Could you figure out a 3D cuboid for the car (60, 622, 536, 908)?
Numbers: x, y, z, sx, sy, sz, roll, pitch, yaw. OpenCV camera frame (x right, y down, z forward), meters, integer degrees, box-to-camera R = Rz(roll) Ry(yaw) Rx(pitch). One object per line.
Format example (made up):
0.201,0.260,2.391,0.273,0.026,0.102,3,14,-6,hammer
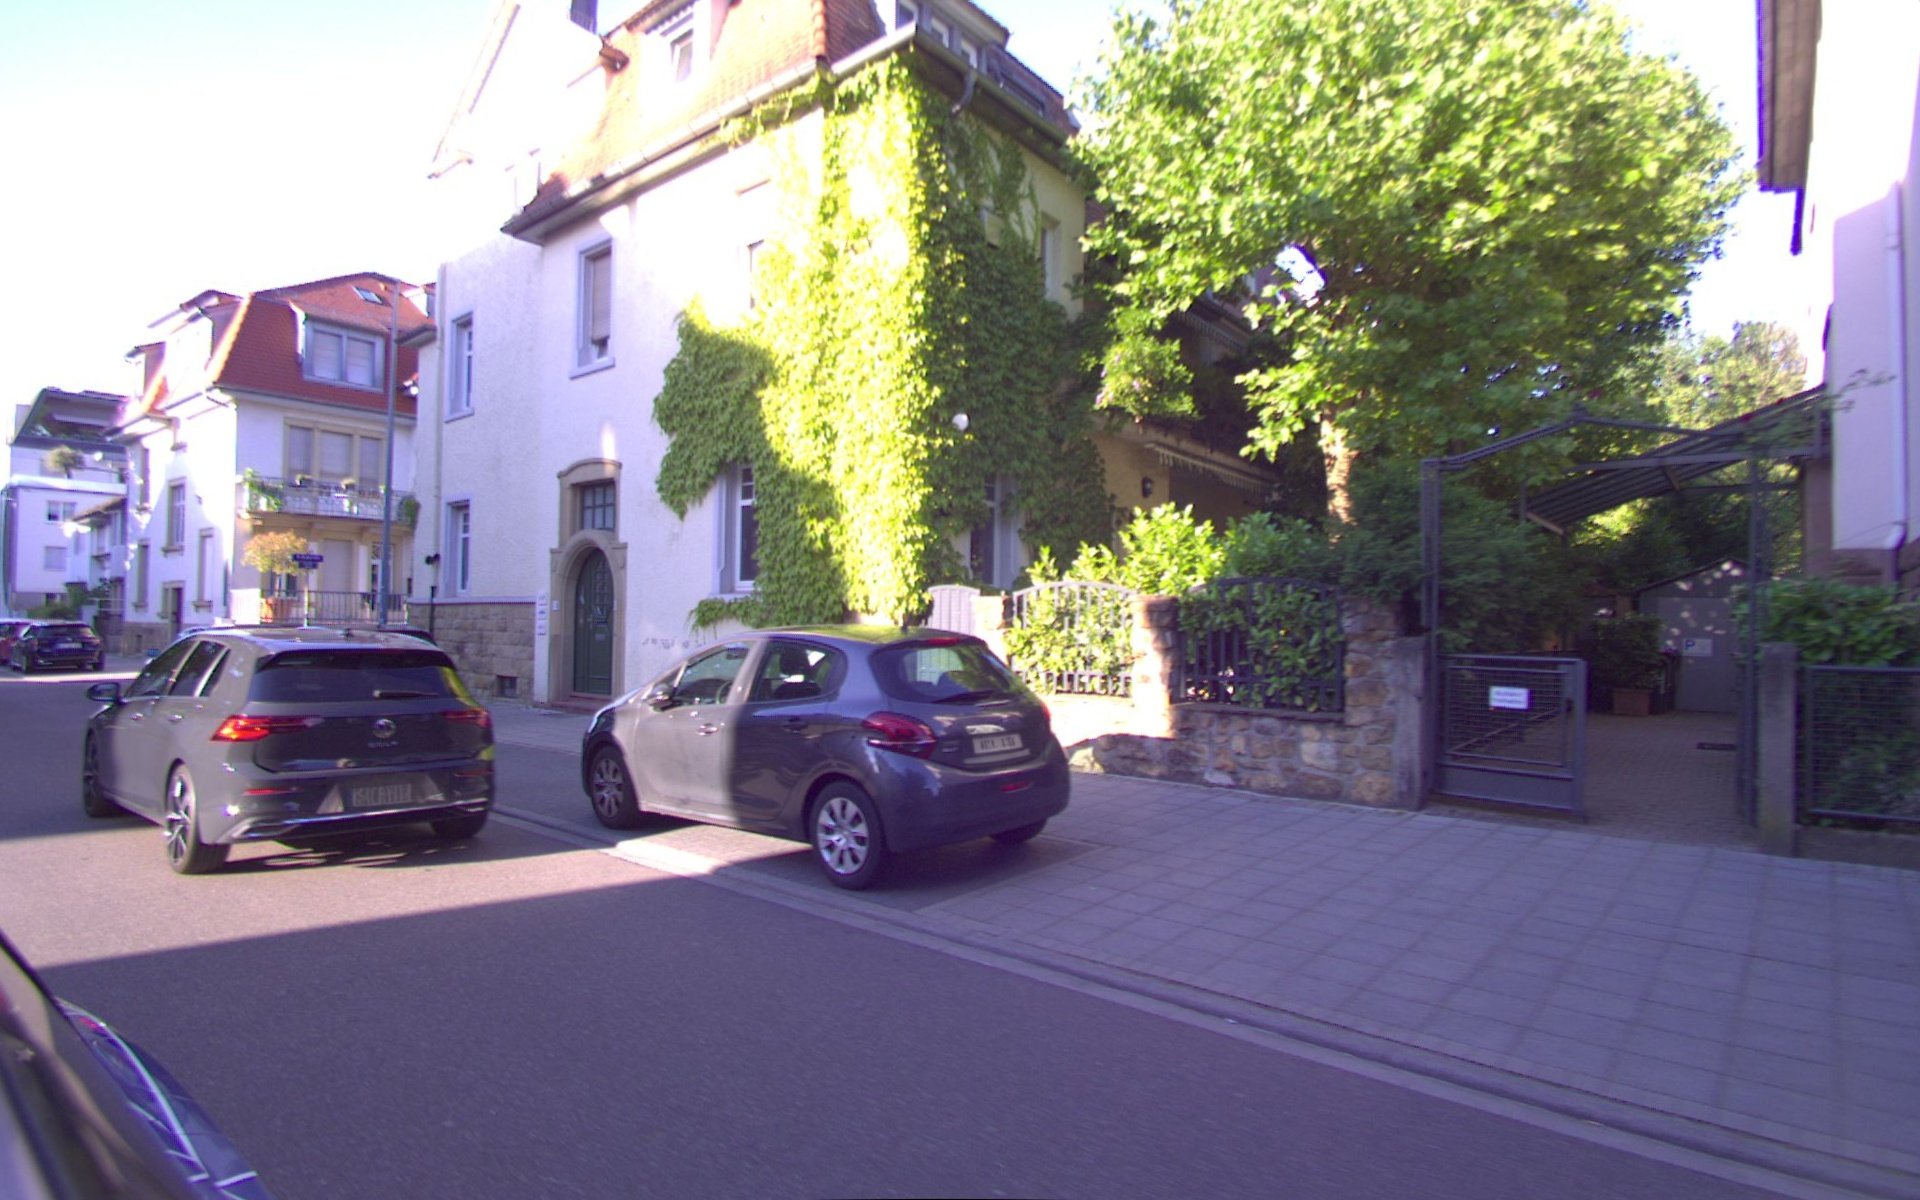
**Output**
-4.835,0.925,7.174,3.998,1.460,1.753,-2,-4,41,car

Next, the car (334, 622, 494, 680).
-15.895,1.490,29.597,1.758,1.571,3.727,-3,-4,36,car

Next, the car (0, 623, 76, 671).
-30.386,1.490,33.049,3.700,1.488,1.567,-1,-2,37,car

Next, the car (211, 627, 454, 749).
-8.678,1.084,13.857,4.165,1.426,1.636,-1,-2,41,car

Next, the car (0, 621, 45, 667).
-33.795,1.527,35.827,3.703,1.532,1.565,-1,-2,40,car

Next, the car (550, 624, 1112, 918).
-1.089,0.900,7.007,4.003,1.458,1.636,-1,-2,41,car

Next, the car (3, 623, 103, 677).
-26.363,1.399,29.366,4.629,1.465,1.636,-1,-2,41,car

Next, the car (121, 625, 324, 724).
-12.678,1.171,17.288,4.629,1.481,1.692,-1,-2,39,car
